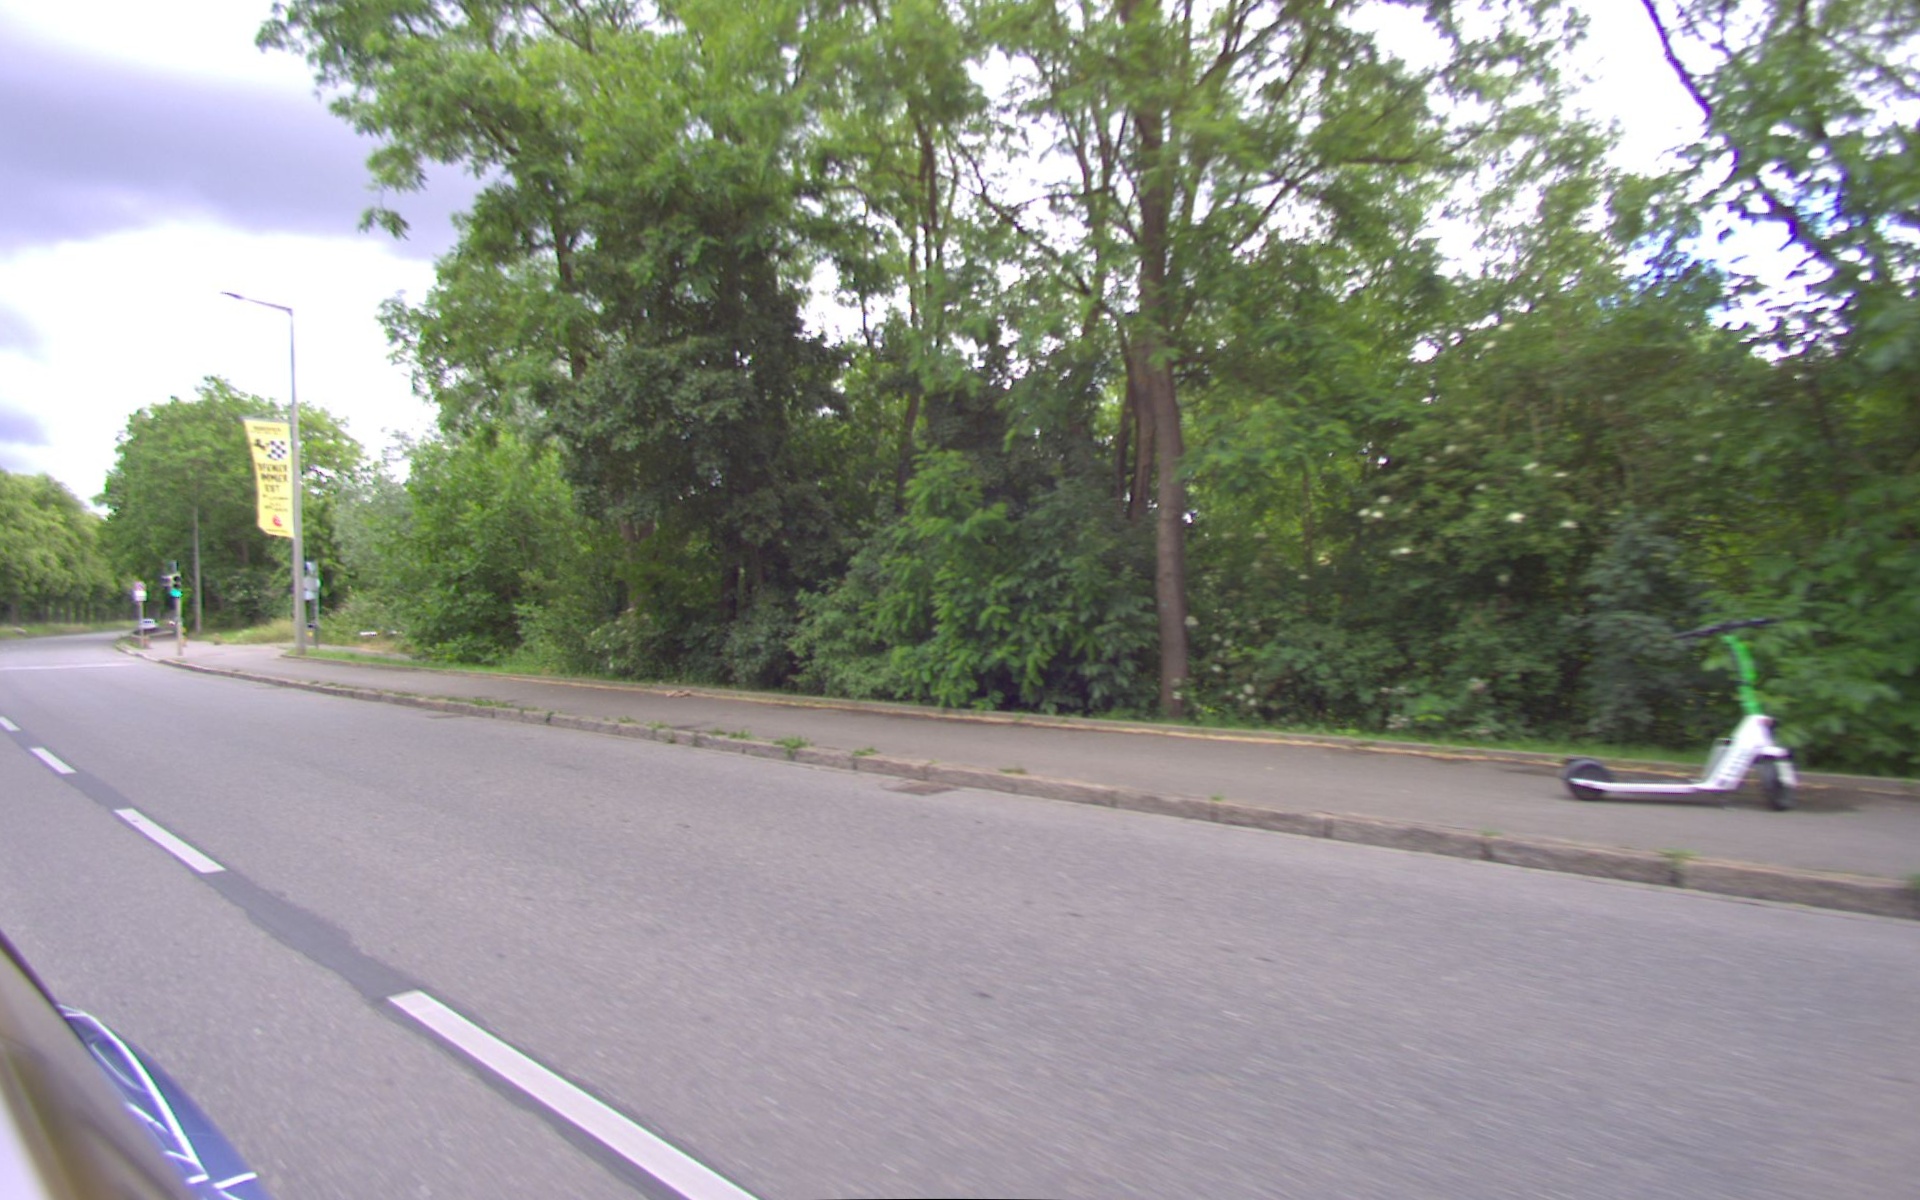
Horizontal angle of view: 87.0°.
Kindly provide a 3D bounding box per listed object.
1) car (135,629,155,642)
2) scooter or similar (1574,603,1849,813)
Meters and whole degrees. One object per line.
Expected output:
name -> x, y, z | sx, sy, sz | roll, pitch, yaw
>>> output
car -> -101.415, 4.393, 125.869 | 1.751, 1.450, 4.367 | 0, -1, -41
scooter or similar -> 4.583, 0.636, 6.255 | 1.291, 1.193, 0.362 | -2, 0, 27
